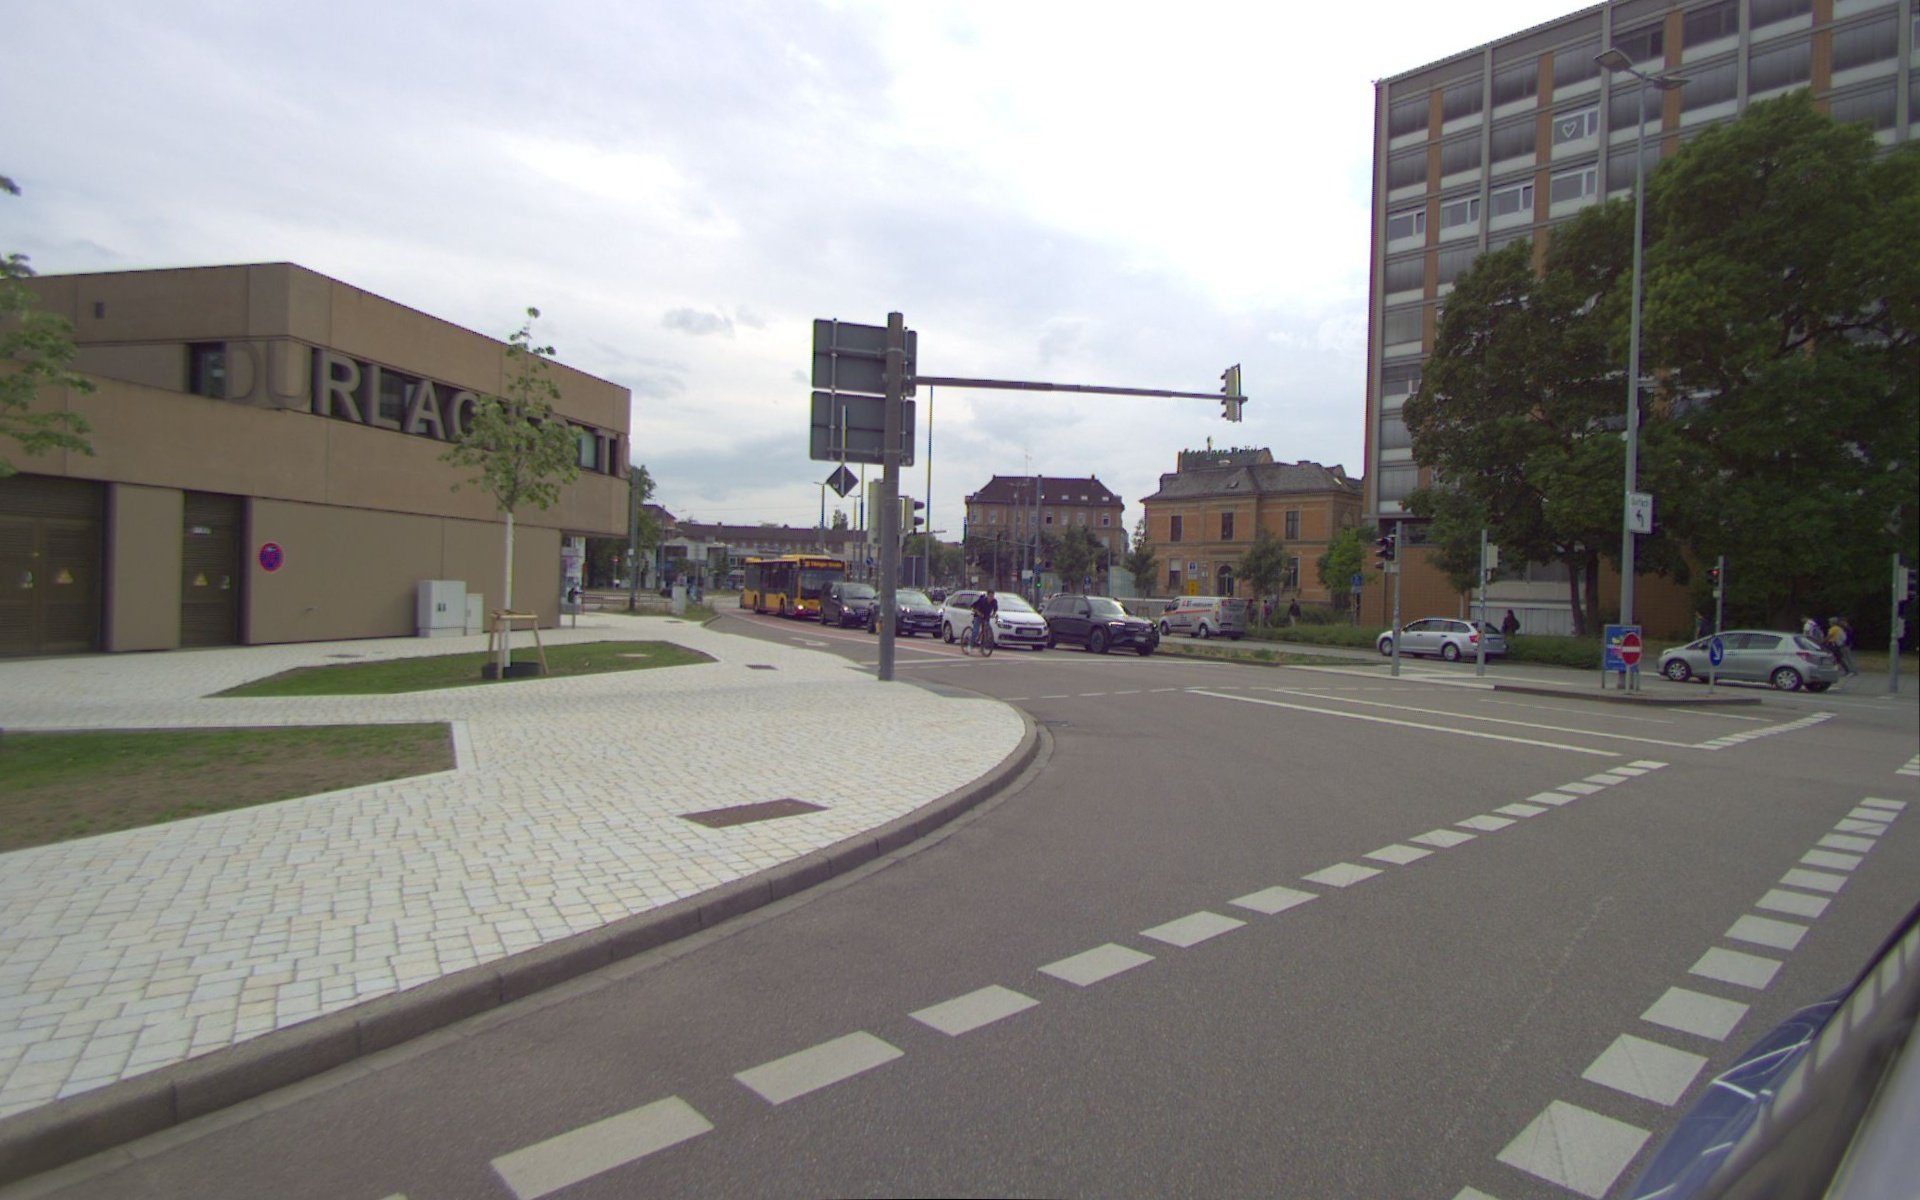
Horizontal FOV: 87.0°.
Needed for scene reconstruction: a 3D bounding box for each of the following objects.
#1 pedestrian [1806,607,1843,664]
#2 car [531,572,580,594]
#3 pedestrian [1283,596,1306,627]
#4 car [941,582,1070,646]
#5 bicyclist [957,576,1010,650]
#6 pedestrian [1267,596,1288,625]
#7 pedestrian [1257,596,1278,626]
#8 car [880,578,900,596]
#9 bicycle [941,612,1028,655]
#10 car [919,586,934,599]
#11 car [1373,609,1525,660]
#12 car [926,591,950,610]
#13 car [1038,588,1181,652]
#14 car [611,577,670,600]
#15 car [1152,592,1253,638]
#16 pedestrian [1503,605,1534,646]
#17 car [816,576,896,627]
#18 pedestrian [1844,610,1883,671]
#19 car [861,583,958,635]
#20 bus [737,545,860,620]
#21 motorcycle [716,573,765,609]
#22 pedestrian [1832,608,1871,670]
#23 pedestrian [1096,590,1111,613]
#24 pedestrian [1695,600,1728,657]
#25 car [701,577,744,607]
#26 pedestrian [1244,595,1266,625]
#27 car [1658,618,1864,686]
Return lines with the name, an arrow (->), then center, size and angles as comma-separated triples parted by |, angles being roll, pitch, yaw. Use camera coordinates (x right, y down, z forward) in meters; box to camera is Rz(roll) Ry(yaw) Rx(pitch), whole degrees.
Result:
pedestrian -> 26.540, 1.081, 31.080 | 0.628, 1.732, 0.708 | 2, 0, -36
car -> -37.725, -1.595, 94.434 | 3.919, 1.788, 2.002 | 3, -1, -29
pedestrian -> 17.201, 0.593, 52.048 | 0.764, 1.593, 0.814 | 0, 1, -17
car -> 1.249, 0.379, 29.857 | 1.958, 1.672, 4.298 | 3, -1, -25
bicyclist -> 0.560, 0.300, 23.973 | 0.852, 1.690, 0.882 | 3, -1, -30
pedestrian -> 17.576, 0.589, 55.991 | 0.764, 1.593, 0.814 | 0, 1, -13
pedestrian -> 16.698, 0.600, 54.988 | 0.764, 1.593, 0.814 | 0, 1, -17
car -> -8.213, -1.525, 118.408 | 1.959, 1.948, 4.006 | 3, -1, -9
bicycle -> 0.545, 0.776, 23.956 | 0.847, 0.888, 2.522 | 3, -1, -29
car -> -4.408, -0.974, 132.366 | 1.804, 1.635, 3.549 | 3, -1, -5
car -> 16.776, 1.146, 34.981 | 1.787, 1.493, 4.535 | 3, -1, -26
car -> -2.527, 0.063, 113.681 | 1.959, 2.039, 4.006 | 3, -1, -10
car -> 4.291, 0.535, 29.819 | 1.958, 1.672, 4.520 | 3, -1, -25
car -> -25.535, -0.947, 80.948 | 3.956, 1.594, 1.997 | 4, -1, -41
car -> 11.409, 0.651, 48.024 | 1.787, 1.984, 5.214 | 3, -1, -24
pedestrian -> 22.418, 1.004, 40.618 | 0.766, 1.593, 0.812 | 0, 1, -36
car -> -4.422, 0.033, 42.284 | 1.958, 1.923, 4.298 | 3, -1, -25
pedestrian -> 26.556, 1.181, 29.734 | 0.628, 1.733, 0.708 | 4, -1, -36
car -> -1.897, 0.290, 36.356 | 1.958, 1.672, 4.298 | 3, -1, -25
bus -> -8.593, -0.839, 52.059 | 3.092, 3.296, 12.436 | 3, -1, -23
motorcycle -> -13.750, -0.570, 63.260 | 1.959, 2.039, 4.006 | 3, -1, -27
pedestrian -> 25.852, 1.118, 29.340 | 0.628, 1.732, 0.708 | 1, 0, -36
pedestrian -> 9.953, 0.118, 70.372 | 0.764, 1.593, 0.814 | 0, 1, -13
pedestrian -> 24.957, 0.938, 33.628 | 0.628, 1.876, 0.708 | 1, 0, -36
car -> -16.223, -0.557, 69.104 | 1.958, 1.923, 4.298 | 3, -1, -25
pedestrian -> 15.737, 0.539, 53.975 | 0.764, 1.593, 0.814 | 0, 1, -17
car -> 20.835, 1.327, 26.511 | 1.637, 1.508, 3.882 | 3, -1, -27
